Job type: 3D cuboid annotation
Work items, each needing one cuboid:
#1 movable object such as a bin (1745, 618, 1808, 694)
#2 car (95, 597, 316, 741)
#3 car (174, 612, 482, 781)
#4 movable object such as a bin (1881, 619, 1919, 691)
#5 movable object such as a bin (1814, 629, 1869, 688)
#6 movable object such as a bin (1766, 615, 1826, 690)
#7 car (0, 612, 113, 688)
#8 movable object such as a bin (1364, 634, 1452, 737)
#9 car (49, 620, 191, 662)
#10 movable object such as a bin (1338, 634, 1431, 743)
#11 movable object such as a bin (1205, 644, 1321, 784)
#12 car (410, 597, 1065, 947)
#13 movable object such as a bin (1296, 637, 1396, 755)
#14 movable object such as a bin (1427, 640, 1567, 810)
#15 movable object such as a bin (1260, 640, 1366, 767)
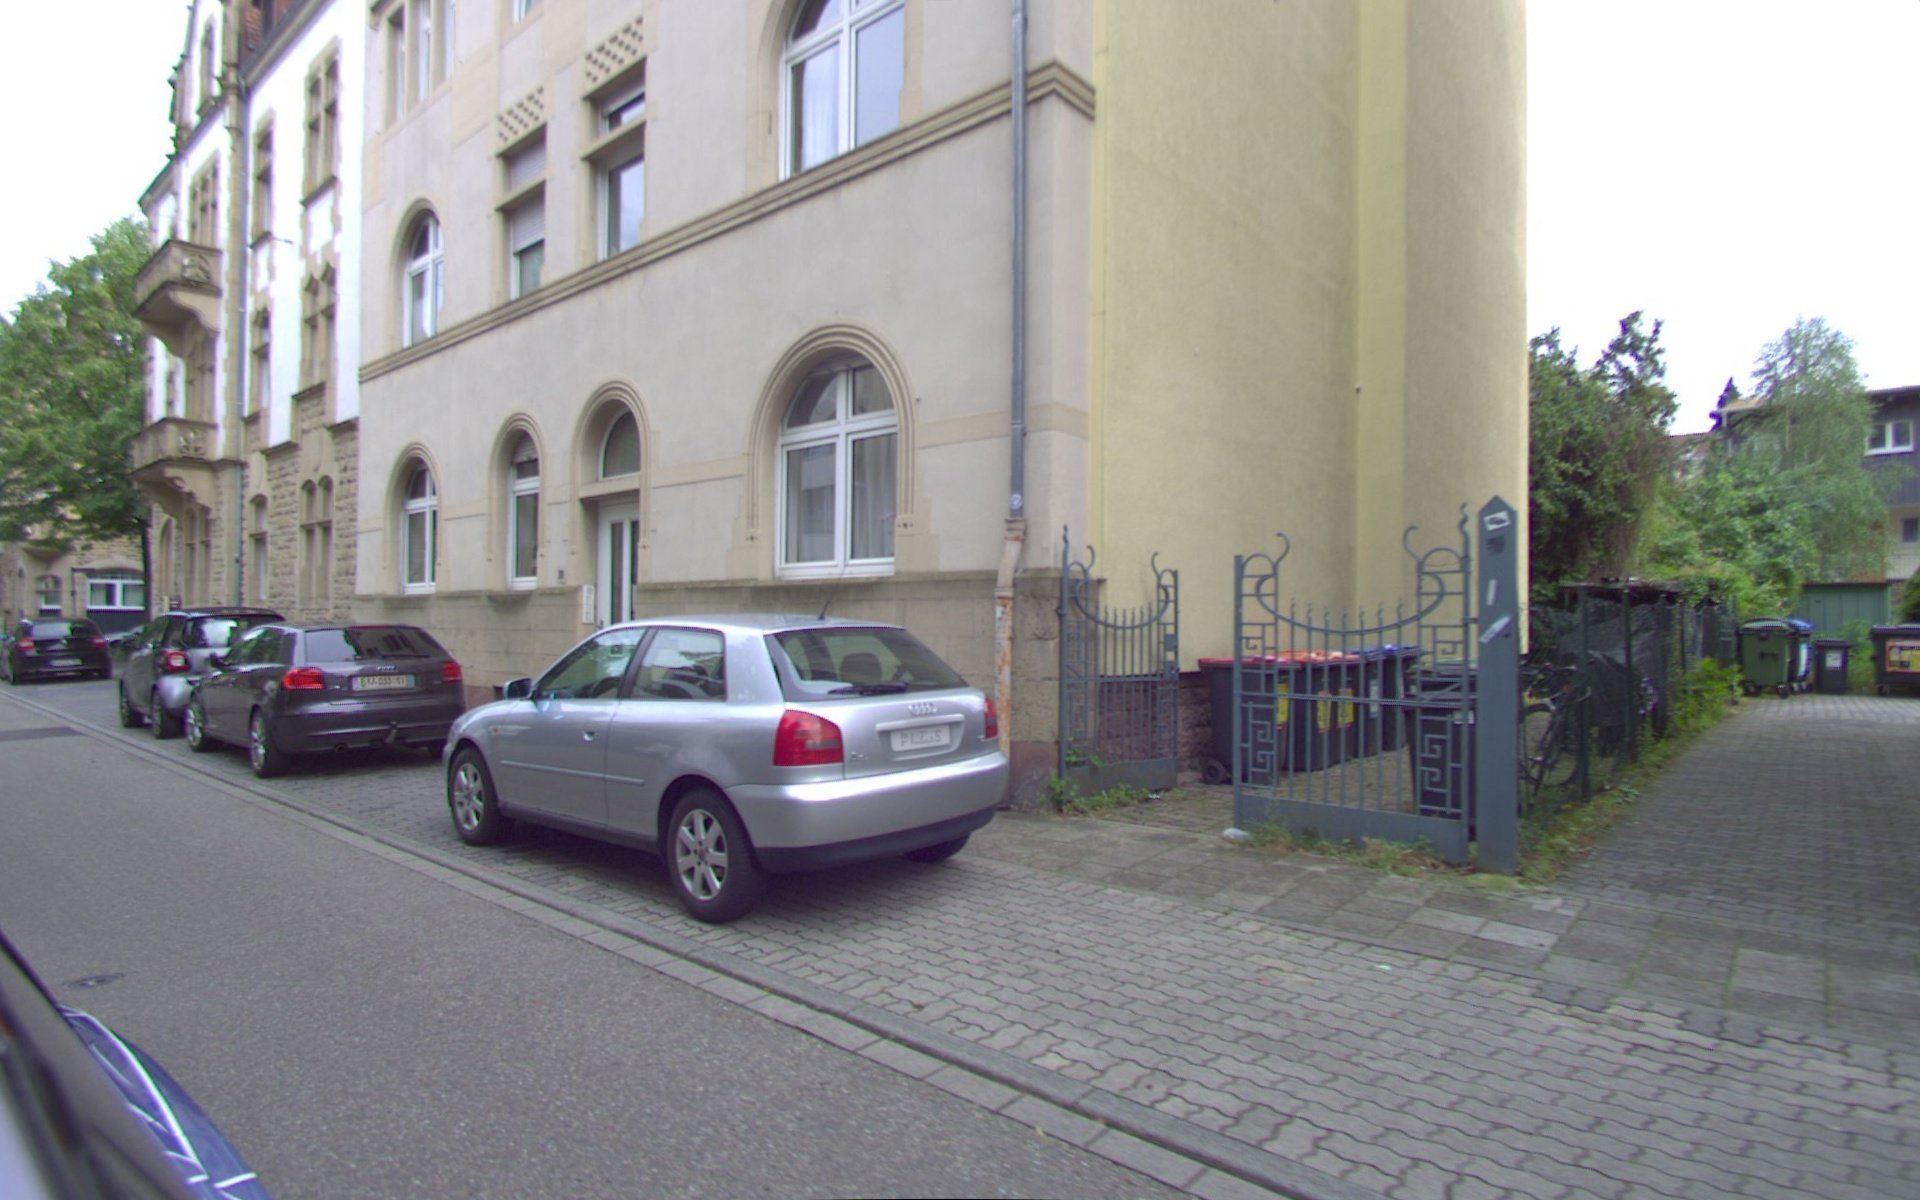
[{"bbox_3d":[14.586,0.979,18.079,0.813,1.303,0.825,-1,-1,42],"label":"movable object such as a bin"},{"bbox_3d":[-9.826,0.827,13.132,2.954,1.582,1.630,-2,1,40],"label":"car"},{"bbox_3d":[-6.619,0.854,10.431,3.928,1.397,1.707,-2,-1,42],"label":"car"},{"bbox_3d":[17.938,1.003,18.782,1.216,1.301,1.229,-1,-1,42],"label":"movable object such as a bin"},{"bbox_3d":[17.006,1.114,19.523,0.759,1.066,1.031,-1,-1,42],"label":"movable object such as a bin"},{"bbox_3d":[15.452,0.948,18.705,0.813,1.347,0.825,-1,-1,42],"label":"movable object such as a bin"},{"bbox_3d":[-20.599,1.070,22.878,3.999,1.506,1.691,-1,1,42],"label":"car"},{"bbox_3d":[4.899,0.908,11.066,0.730,1.063,0.607,-1,-1,41],"label":"movable object such as a bin"},{"bbox_3d":[-33.312,1.613,40.203,4.220,1.477,1.665,2,1,-42],"label":"car"},{"bbox_3d":[4.412,0.893,10.516,0.730,1.063,0.607,-1,-1,41],"label":"movable object such as a bin"},{"bbox_3d":[2.500,0.910,8.357,0.730,1.063,0.607,-1,-1,41],"label":"movable object such as a bin"},{"bbox_3d":[-1.565,0.724,6.084,4.134,1.397,1.708,-1,0,41],"label":"car"},{"bbox_3d":[3.732,0.902,9.785,0.730,1.063,0.607,-1,-1,41],"label":"movable object such as a bin"},{"bbox_3d":[3.700,0.822,6.975,0.730,1.063,0.607,-1,-1,41],"label":"movable object such as a bin"},{"bbox_3d":[3.196,0.910,9.169,0.730,1.063,0.607,-1,-1,41],"label":"movable object such as a bin"}]
